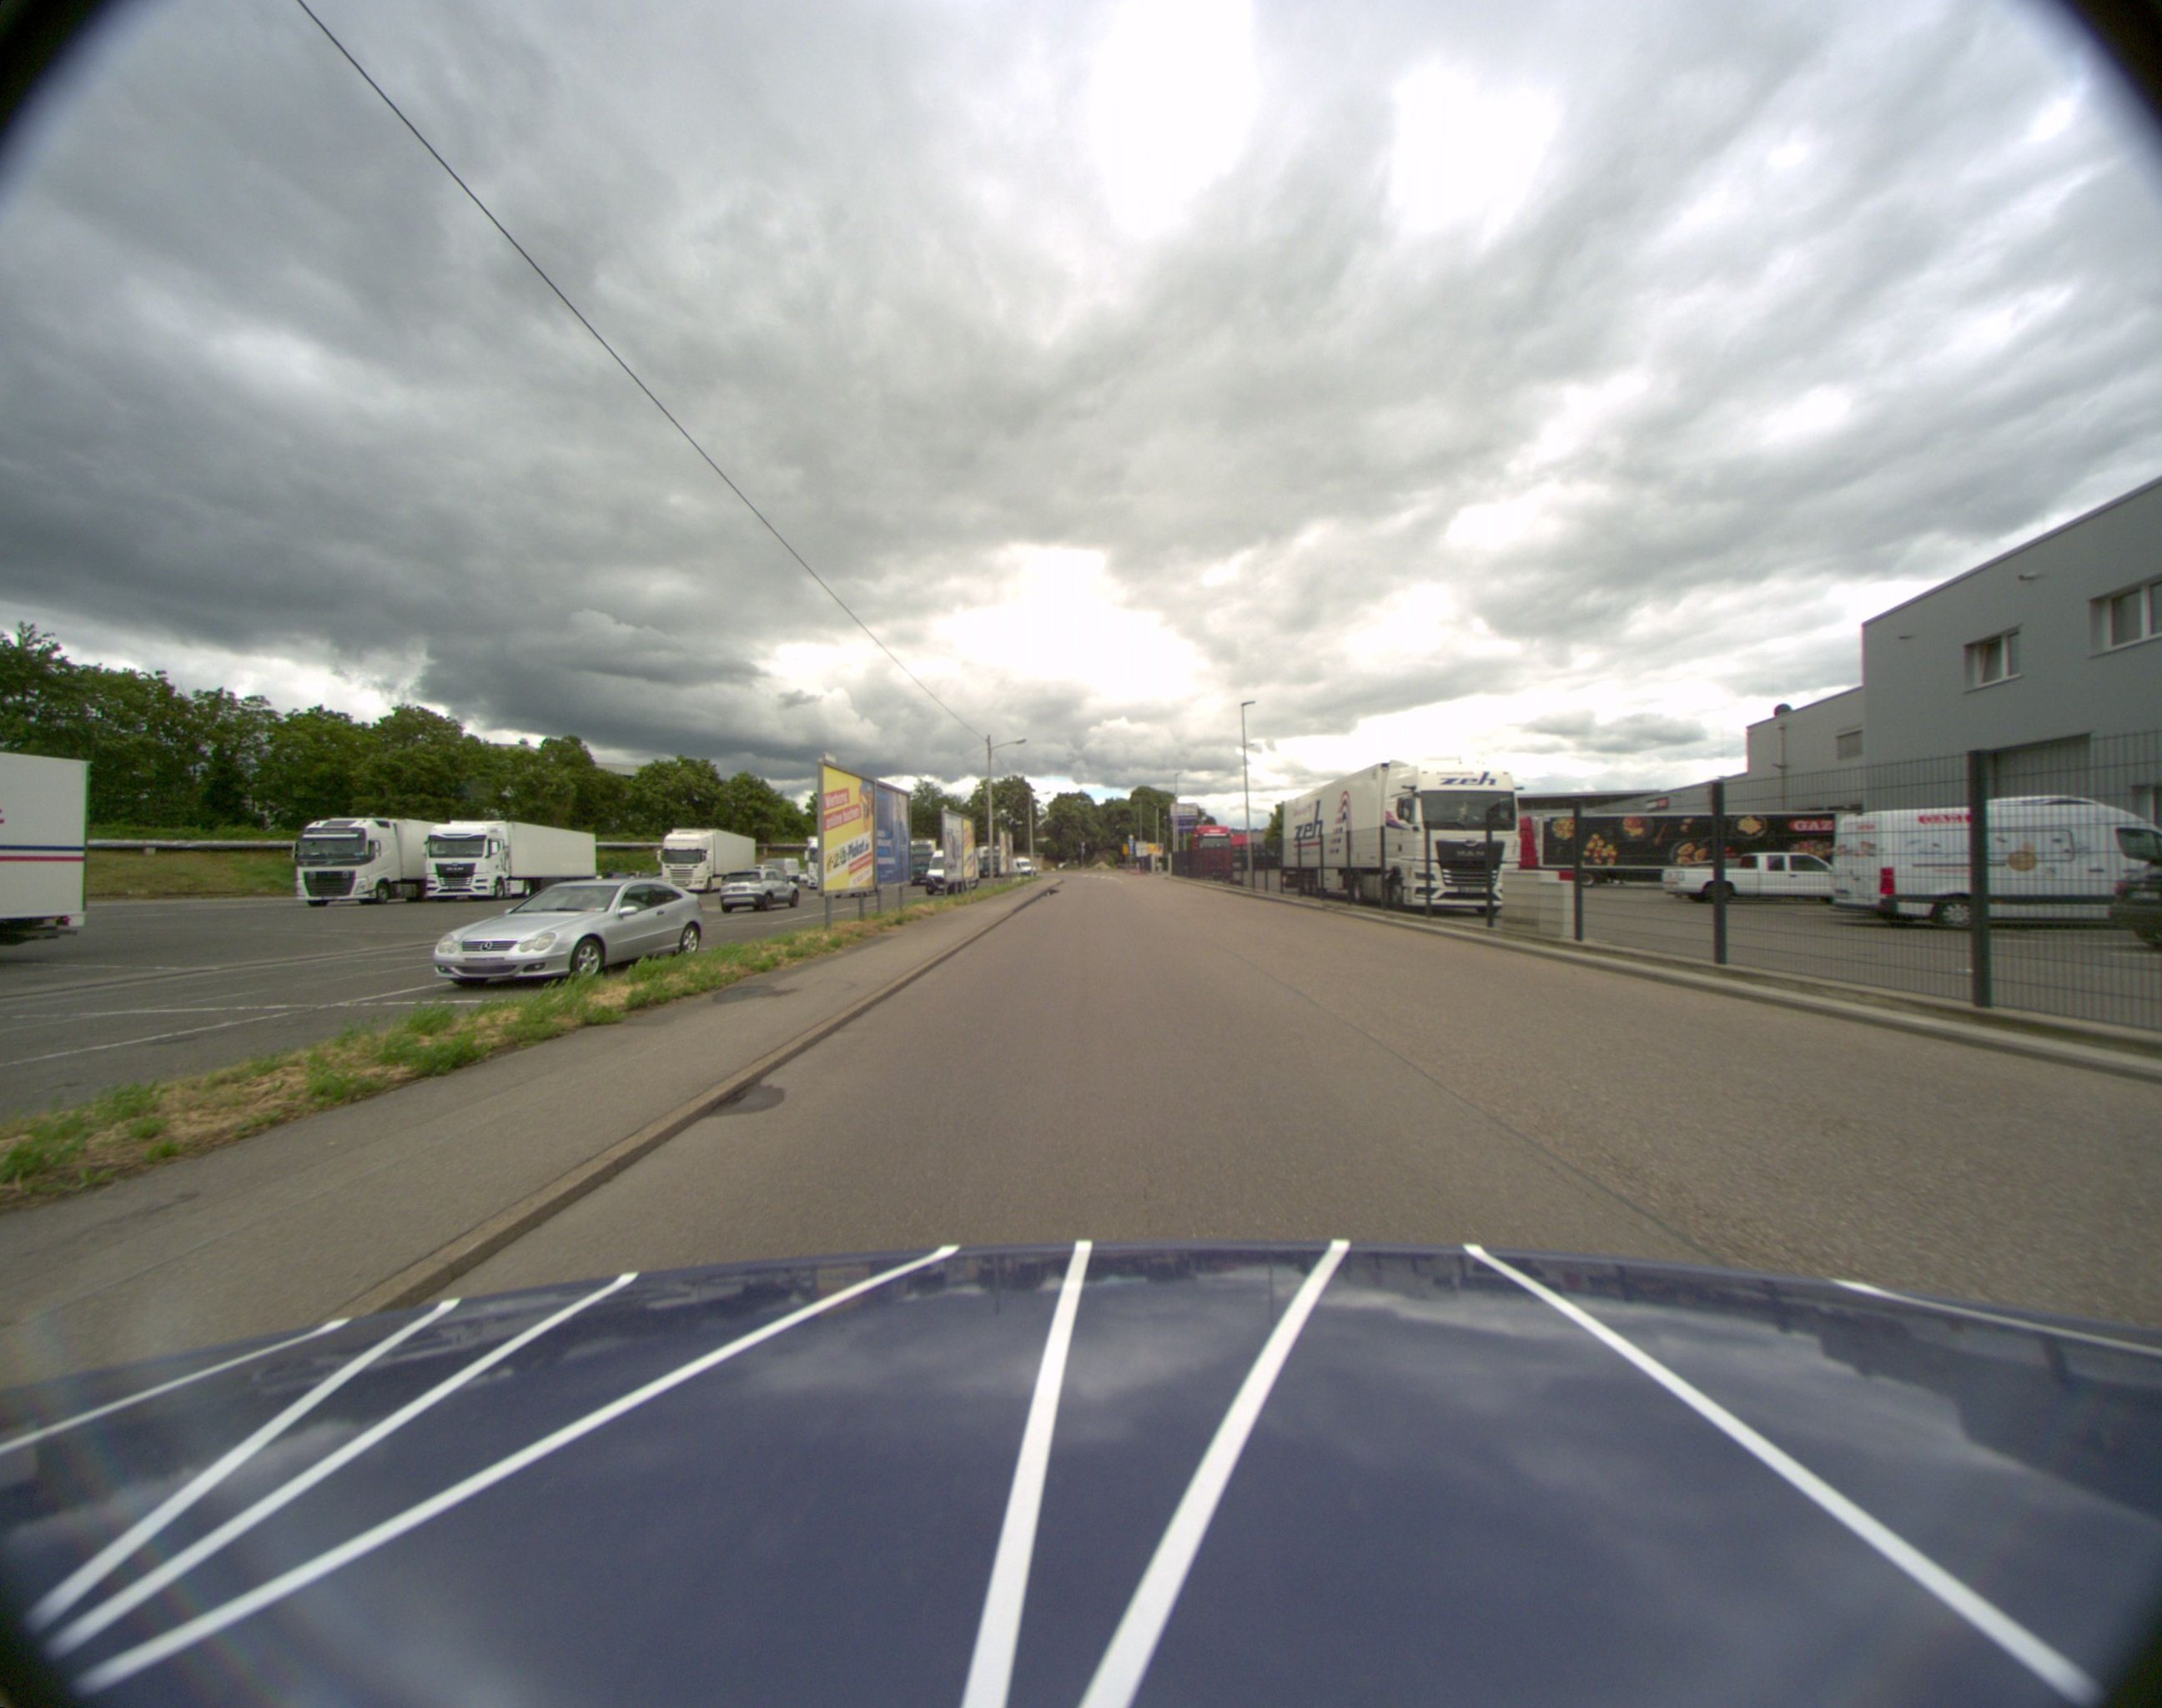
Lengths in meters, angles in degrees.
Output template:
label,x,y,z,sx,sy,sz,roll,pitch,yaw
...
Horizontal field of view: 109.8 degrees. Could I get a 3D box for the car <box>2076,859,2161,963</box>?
label,x,y,z,sx,sy,sz,roll,pitch,yaw
car,18.814,0.832,11.519,4.072,1.567,1.947,-2,-1,22

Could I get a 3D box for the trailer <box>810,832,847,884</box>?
label,x,y,z,sx,sy,sz,roll,pitch,yaw
trailer,-22.227,0.340,66.660,2.842,4.071,13.374,0,0,-19

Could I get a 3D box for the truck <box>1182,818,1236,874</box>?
label,x,y,z,sx,sy,sz,roll,pitch,yaw
truck,9.319,-0.551,55.939,3.021,3.827,5.670,1,0,1

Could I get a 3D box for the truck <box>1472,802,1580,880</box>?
label,x,y,z,sx,sy,sz,roll,pitch,yaw
truck,25.035,-0.705,43.060,4.870,4.180,3.053,1,1,23

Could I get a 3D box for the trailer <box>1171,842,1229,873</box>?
label,x,y,z,sx,sy,sz,roll,pitch,yaw
trailer,9.451,0.251,61.851,3.046,2.179,12.048,1,0,1

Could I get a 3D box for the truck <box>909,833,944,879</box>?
label,x,y,z,sx,sy,sz,roll,pitch,yaw
truck,-14.105,0.209,68.998,2.876,3.990,6.748,0,0,-14

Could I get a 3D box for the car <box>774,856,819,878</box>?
label,x,y,z,sx,sy,sz,roll,pitch,yaw
car,-32.522,1.505,86.829,4.906,2.434,2.375,-1,0,32

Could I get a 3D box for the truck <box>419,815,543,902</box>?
label,x,y,z,sx,sy,sz,roll,pitch,yaw
truck,-30.360,0.232,38.815,2.618,4.071,6.747,0,0,-16

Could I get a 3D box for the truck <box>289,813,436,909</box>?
label,x,y,z,sx,sy,sz,roll,pitch,yaw
truck,-33.001,0.321,35.208,2.618,4.071,5.647,0,0,-16

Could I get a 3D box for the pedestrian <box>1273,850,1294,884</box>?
label,x,y,z,sx,sy,sz,roll,pitch,yaw
pedestrian,10.862,0.701,40.778,0.804,1.809,0.880,-1,0,-2

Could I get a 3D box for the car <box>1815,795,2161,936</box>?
label,x,y,z,sx,sy,sz,roll,pitch,yaw
car,19.864,0.283,16.283,5.423,2.714,2.244,-2,0,20

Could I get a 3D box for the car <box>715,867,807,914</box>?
label,x,y,z,sx,sy,sz,roll,pitch,yaw
car,-12.256,1.353,29.422,1.769,1.562,4.000,-3,0,0

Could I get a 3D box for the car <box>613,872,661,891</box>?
label,x,y,z,sx,sy,sz,roll,pitch,yaw
car,-41.750,2.556,71.426,4.209,1.599,2.004,-1,0,30

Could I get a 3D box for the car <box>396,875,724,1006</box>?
label,x,y,z,sx,sy,sz,roll,pitch,yaw
car,-7.448,1.119,11.572,1.778,1.455,4.560,-1,0,1

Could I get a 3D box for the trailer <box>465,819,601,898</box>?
label,x,y,z,sx,sy,sz,roll,pitch,yaw
trailer,-32.344,0.265,45.644,2.618,4.071,12.427,0,0,-16

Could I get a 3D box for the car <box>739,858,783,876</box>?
label,x,y,z,sx,sy,sz,roll,pitch,yaw
car,-34.464,1.422,81.815,4.707,1.881,2.004,-1,0,32

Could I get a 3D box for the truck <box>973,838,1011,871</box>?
label,x,y,z,sx,sy,sz,roll,pitch,yaw
truck,-10.528,0.070,89.096,2.832,3.689,9.090,-1,0,-17

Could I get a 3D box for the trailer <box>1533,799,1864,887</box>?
label,x,y,z,sx,sy,sz,roll,pitch,yaw
trailer,31.792,-0.601,40.187,13.157,4.188,3.053,1,1,23

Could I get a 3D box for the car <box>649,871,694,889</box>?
label,x,y,z,sx,sy,sz,roll,pitch,yaw
car,-39.391,2.501,73.014,3.989,1.599,2.004,-1,0,30

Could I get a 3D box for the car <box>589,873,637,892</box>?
label,x,y,z,sx,sy,sz,roll,pitch,yaw
car,-42.750,2.579,69.363,4.209,1.599,2.004,-1,0,30

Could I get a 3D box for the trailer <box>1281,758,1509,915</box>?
label,x,y,z,sx,sy,sz,roll,pitch,yaw
trailer,10.171,-0.488,27.192,3.366,4.136,13.853,1,0,5

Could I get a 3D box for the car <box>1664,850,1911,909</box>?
label,x,y,z,sx,sy,sz,roll,pitch,yaw
car,23.156,0.782,25.247,5.679,1.799,1.947,0,0,22

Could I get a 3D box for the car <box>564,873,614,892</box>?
label,x,y,z,sx,sy,sz,roll,pitch,yaw
car,-43.595,2.514,67.269,4.209,1.599,2.004,-1,0,30

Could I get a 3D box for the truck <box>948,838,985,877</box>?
label,x,y,z,sx,sy,sz,roll,pitch,yaw
truck,-11.093,0.366,73.157,2.876,3.609,6.748,0,0,-14

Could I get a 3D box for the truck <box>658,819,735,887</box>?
label,x,y,z,sx,sy,sz,roll,pitch,yaw
truck,-24.605,-0.019,48.980,2.876,4.071,6.749,0,0,-13

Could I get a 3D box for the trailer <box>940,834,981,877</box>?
label,x,y,z,sx,sy,sz,roll,pitch,yaw
trailer,-12.718,0.183,79.328,2.841,4.071,13.379,0,0,-15

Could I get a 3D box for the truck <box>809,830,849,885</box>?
label,x,y,z,sx,sy,sz,roll,pitch,yaw
truck,-19.859,0.314,59.820,2.877,4.071,6.746,0,0,-19

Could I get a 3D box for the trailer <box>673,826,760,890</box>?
label,x,y,z,sx,sy,sz,roll,pitch,yaw
trailer,-26.103,0.292,55.264,2.841,4.071,13.381,0,0,-13

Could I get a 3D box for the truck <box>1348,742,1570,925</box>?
label,x,y,z,sx,sy,sz,roll,pitch,yaw
truck,9.620,-0.484,20.213,3.366,4.136,5.629,1,0,4

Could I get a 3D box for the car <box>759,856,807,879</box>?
label,x,y,z,sx,sy,sz,roll,pitch,yaw
car,-32.904,1.461,83.895,4.906,2.434,2.375,-1,0,32

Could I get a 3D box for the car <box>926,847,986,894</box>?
label,x,y,z,sx,sy,sz,roll,pitch,yaw
car,-6.933,0.867,42.898,2.091,2.401,6.084,-1,0,2

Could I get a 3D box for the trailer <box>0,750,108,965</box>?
label,x,y,z,sx,sy,sz,roll,pitch,yaw
trailer,-21.467,0.038,10.249,2.964,3.944,10.407,1,0,3

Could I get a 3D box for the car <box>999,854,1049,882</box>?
label,x,y,z,sx,sy,sz,roll,pitch,yaw
car,-7.804,1.806,102.733,3.346,3.586,8.650,-1,0,-29

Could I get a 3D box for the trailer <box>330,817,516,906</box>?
label,x,y,z,sx,sy,sz,roll,pitch,yaw
trailer,-34.705,0.369,40.992,2.618,4.071,12.427,0,0,-16
